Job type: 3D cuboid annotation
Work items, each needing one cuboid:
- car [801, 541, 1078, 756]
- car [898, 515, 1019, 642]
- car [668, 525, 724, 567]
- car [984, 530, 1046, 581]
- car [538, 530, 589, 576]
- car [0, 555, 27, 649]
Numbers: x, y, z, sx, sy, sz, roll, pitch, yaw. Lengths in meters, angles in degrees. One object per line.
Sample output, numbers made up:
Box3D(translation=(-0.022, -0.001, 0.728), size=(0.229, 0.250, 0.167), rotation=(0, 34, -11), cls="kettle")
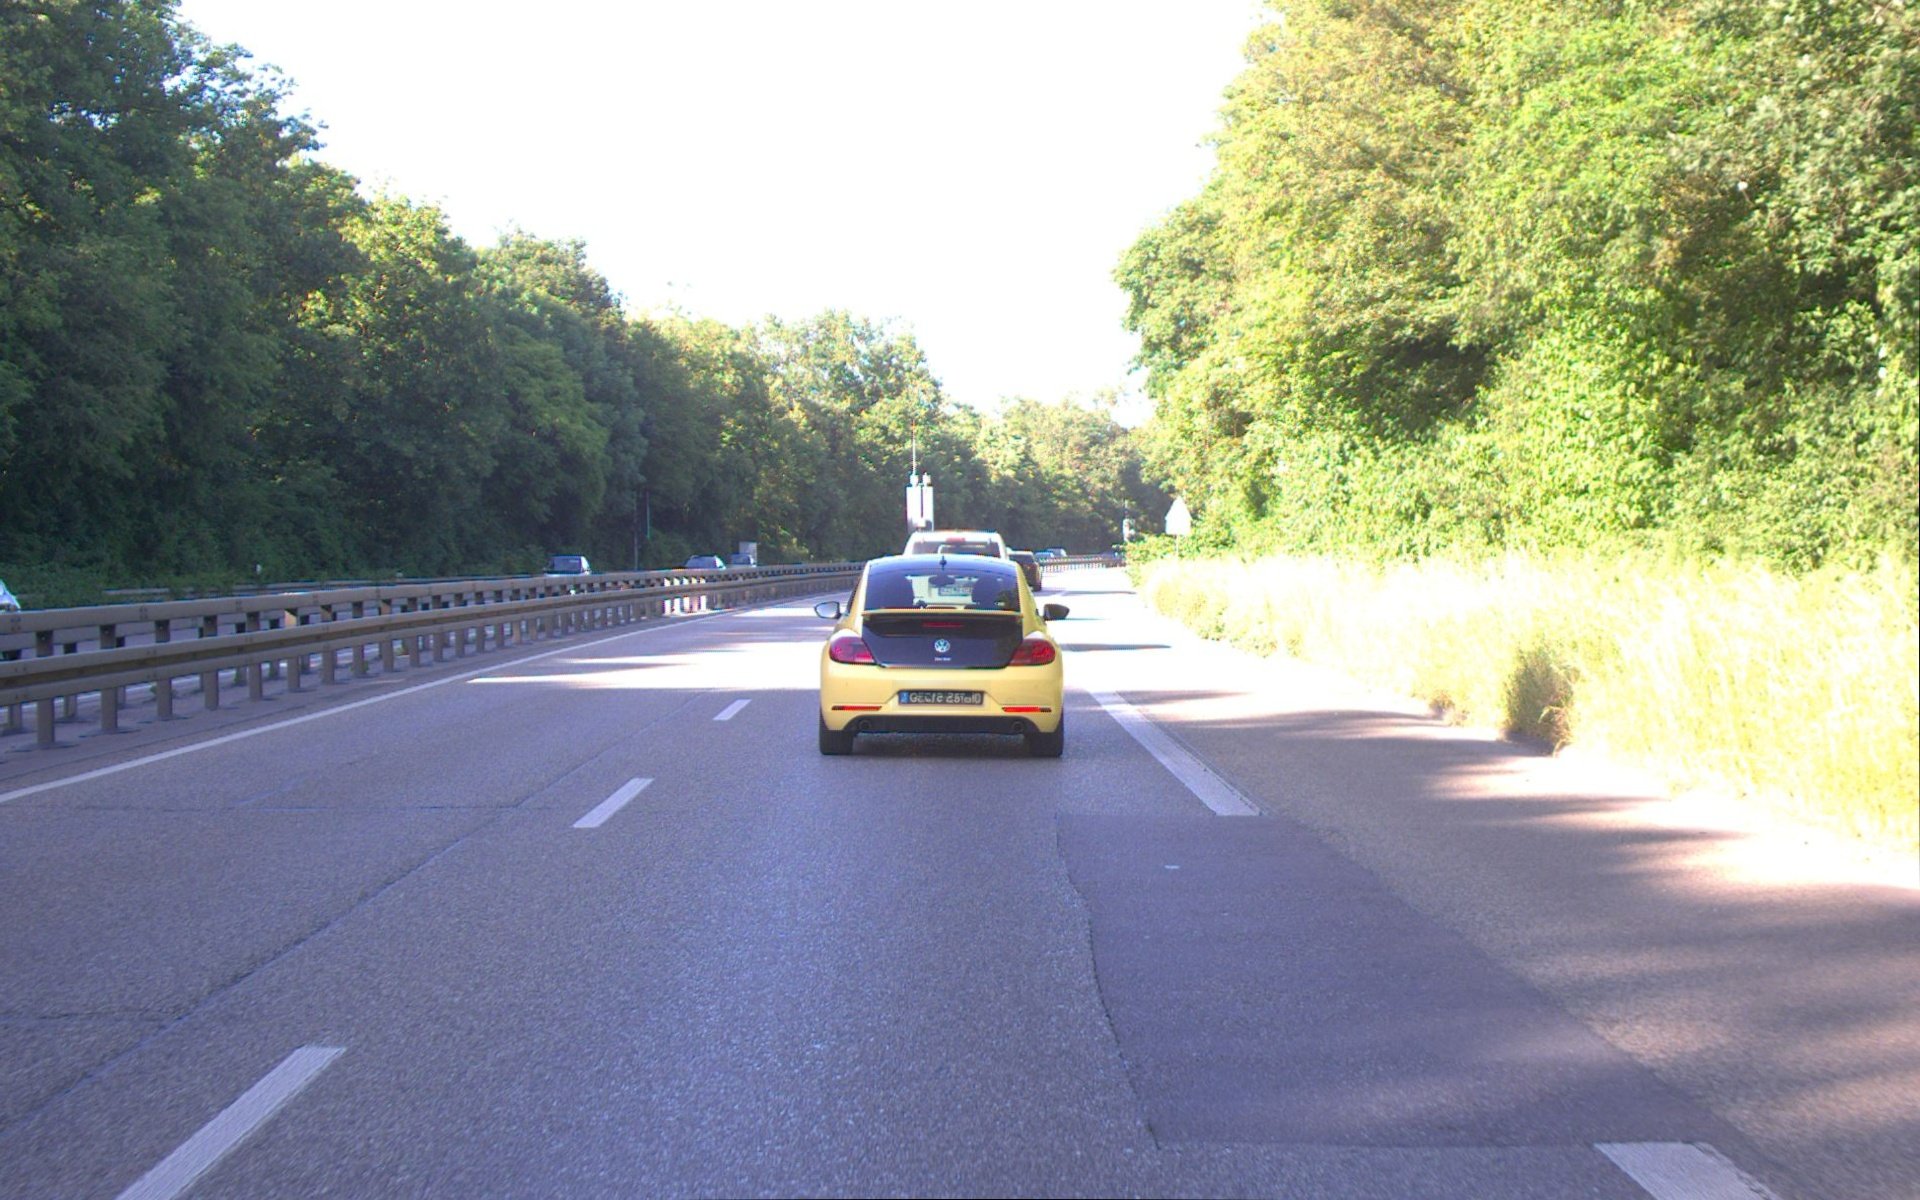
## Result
Box3D(translation=(-0.091, 0.313, 26.027), size=(1.939, 1.503, 3.422), rotation=(-1, 1, 2), cls="car")
Box3D(translation=(0.000, -0.344, 51.794), size=(1.741, 1.823, 3.422), rotation=(1, 1, 1), cls="car")
Box3D(translation=(-11.653, -2.382, 152.076), size=(1.993, 1.744, 4.551), rotation=(-2, 1, 1), cls="car")
Box3D(translation=(2.054, -1.698, 130.088), size=(2.263, 1.869, 5.076), rotation=(0, 1, 0), cls="car")
Box3D(translation=(-14.077, -1.667, 122.159), size=(1.414, 1.614, 2.875), rotation=(0, 1, 1), cls="car")
Box3D(translation=(-15.330, 0.043, 51.537), size=(1.606, 1.418, 4.000), rotation=(0, 1, 0), cls="car")
